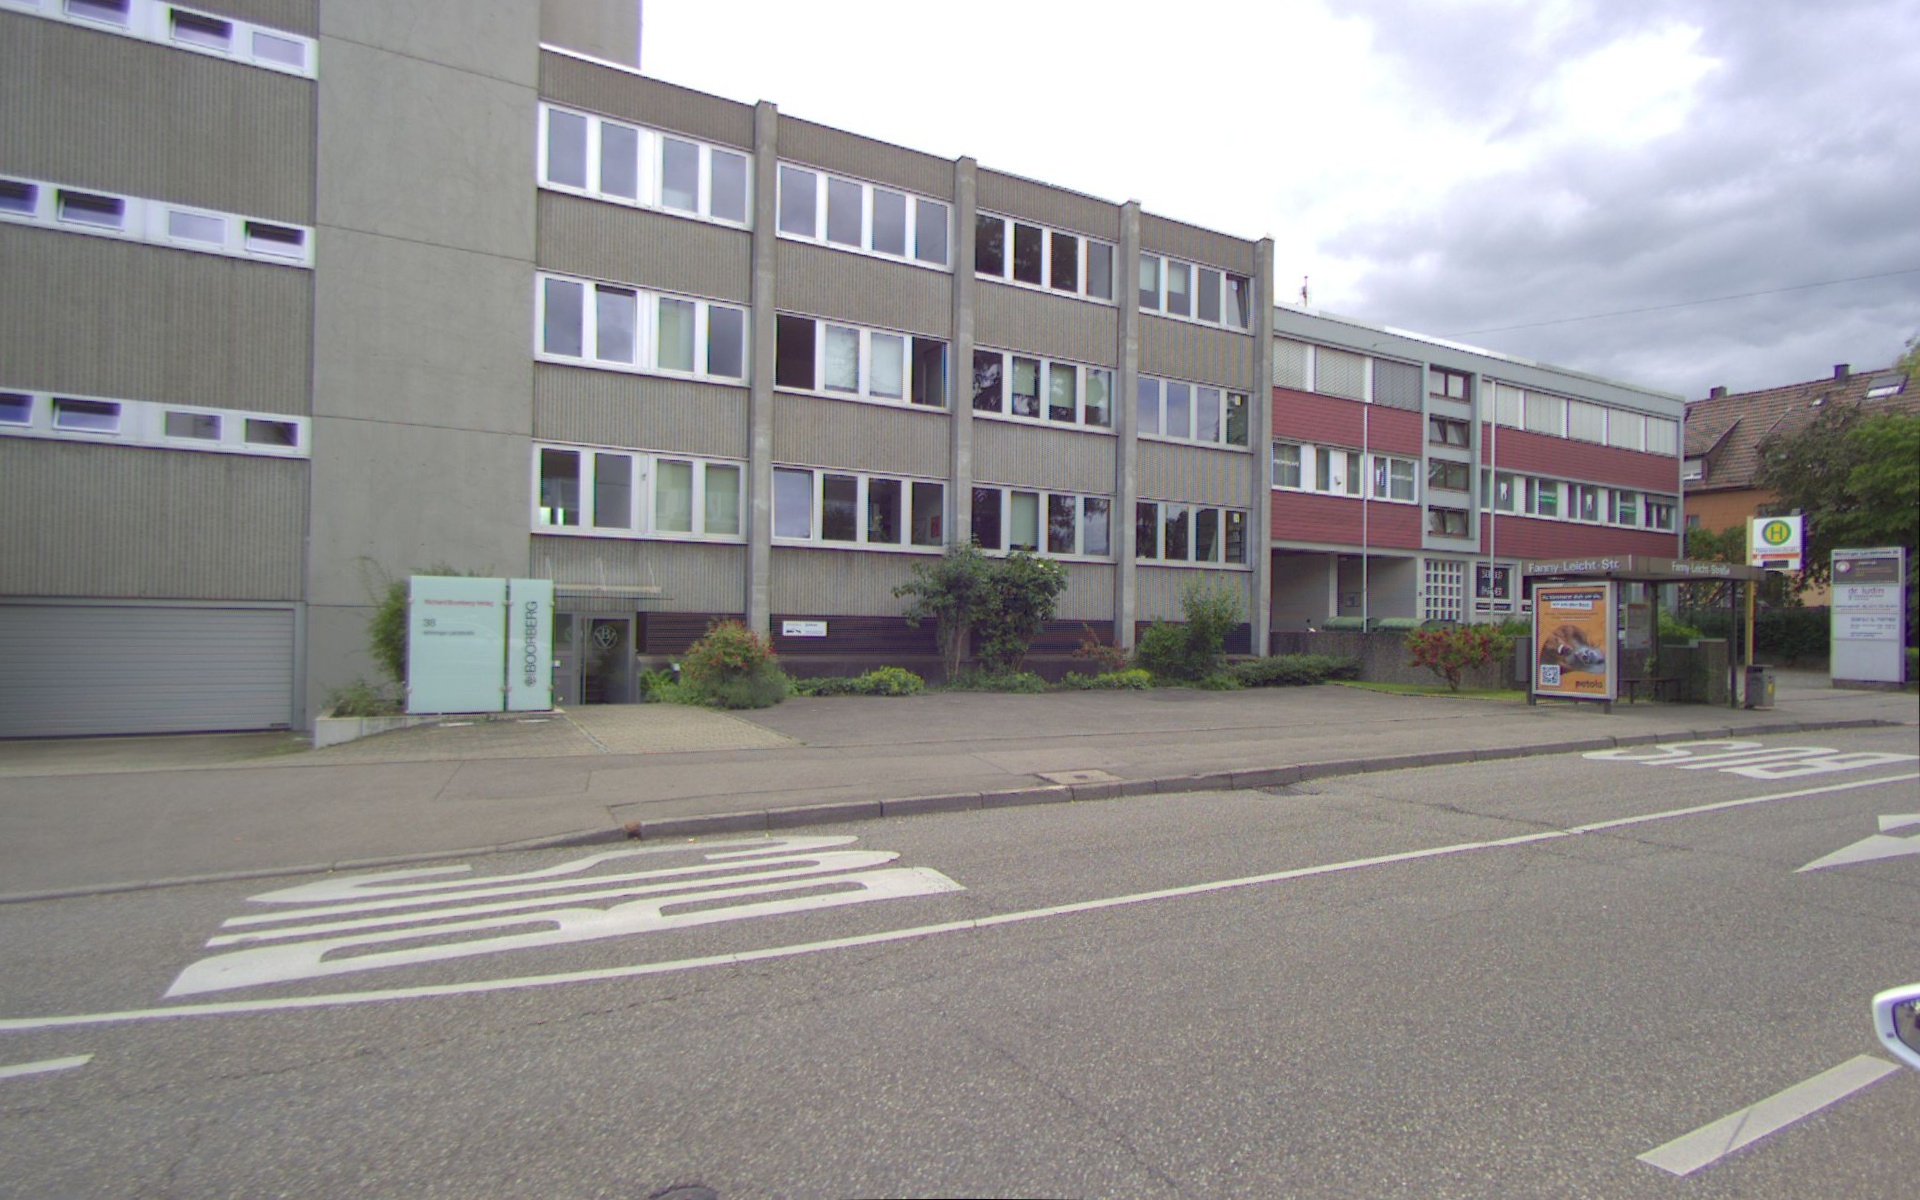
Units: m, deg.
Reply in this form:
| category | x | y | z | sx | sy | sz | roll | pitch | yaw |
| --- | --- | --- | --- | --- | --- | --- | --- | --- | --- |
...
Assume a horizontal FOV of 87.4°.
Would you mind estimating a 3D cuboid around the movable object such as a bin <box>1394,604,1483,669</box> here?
| category | x | y | z | sx | sy | sz | roll | pitch | yaw |
| --- | --- | --- | --- | --- | --- | --- | --- | --- | --- |
| movable object such as a bin | 15.655 | 1.187 | 32.904 | 1.765 | 2.040 | 1.984 | 1 | -1 | -30 |

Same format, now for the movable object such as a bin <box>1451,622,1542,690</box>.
| category | x | y | z | sx | sy | sz | roll | pitch | yaw |
| --- | --- | --- | --- | --- | --- | --- | --- | --- | --- |
| movable object such as a bin | 16.629 | 1.699 | 31.186 | 1.524 | 2.040 | 1.984 | 1 | -1 | -30 |
